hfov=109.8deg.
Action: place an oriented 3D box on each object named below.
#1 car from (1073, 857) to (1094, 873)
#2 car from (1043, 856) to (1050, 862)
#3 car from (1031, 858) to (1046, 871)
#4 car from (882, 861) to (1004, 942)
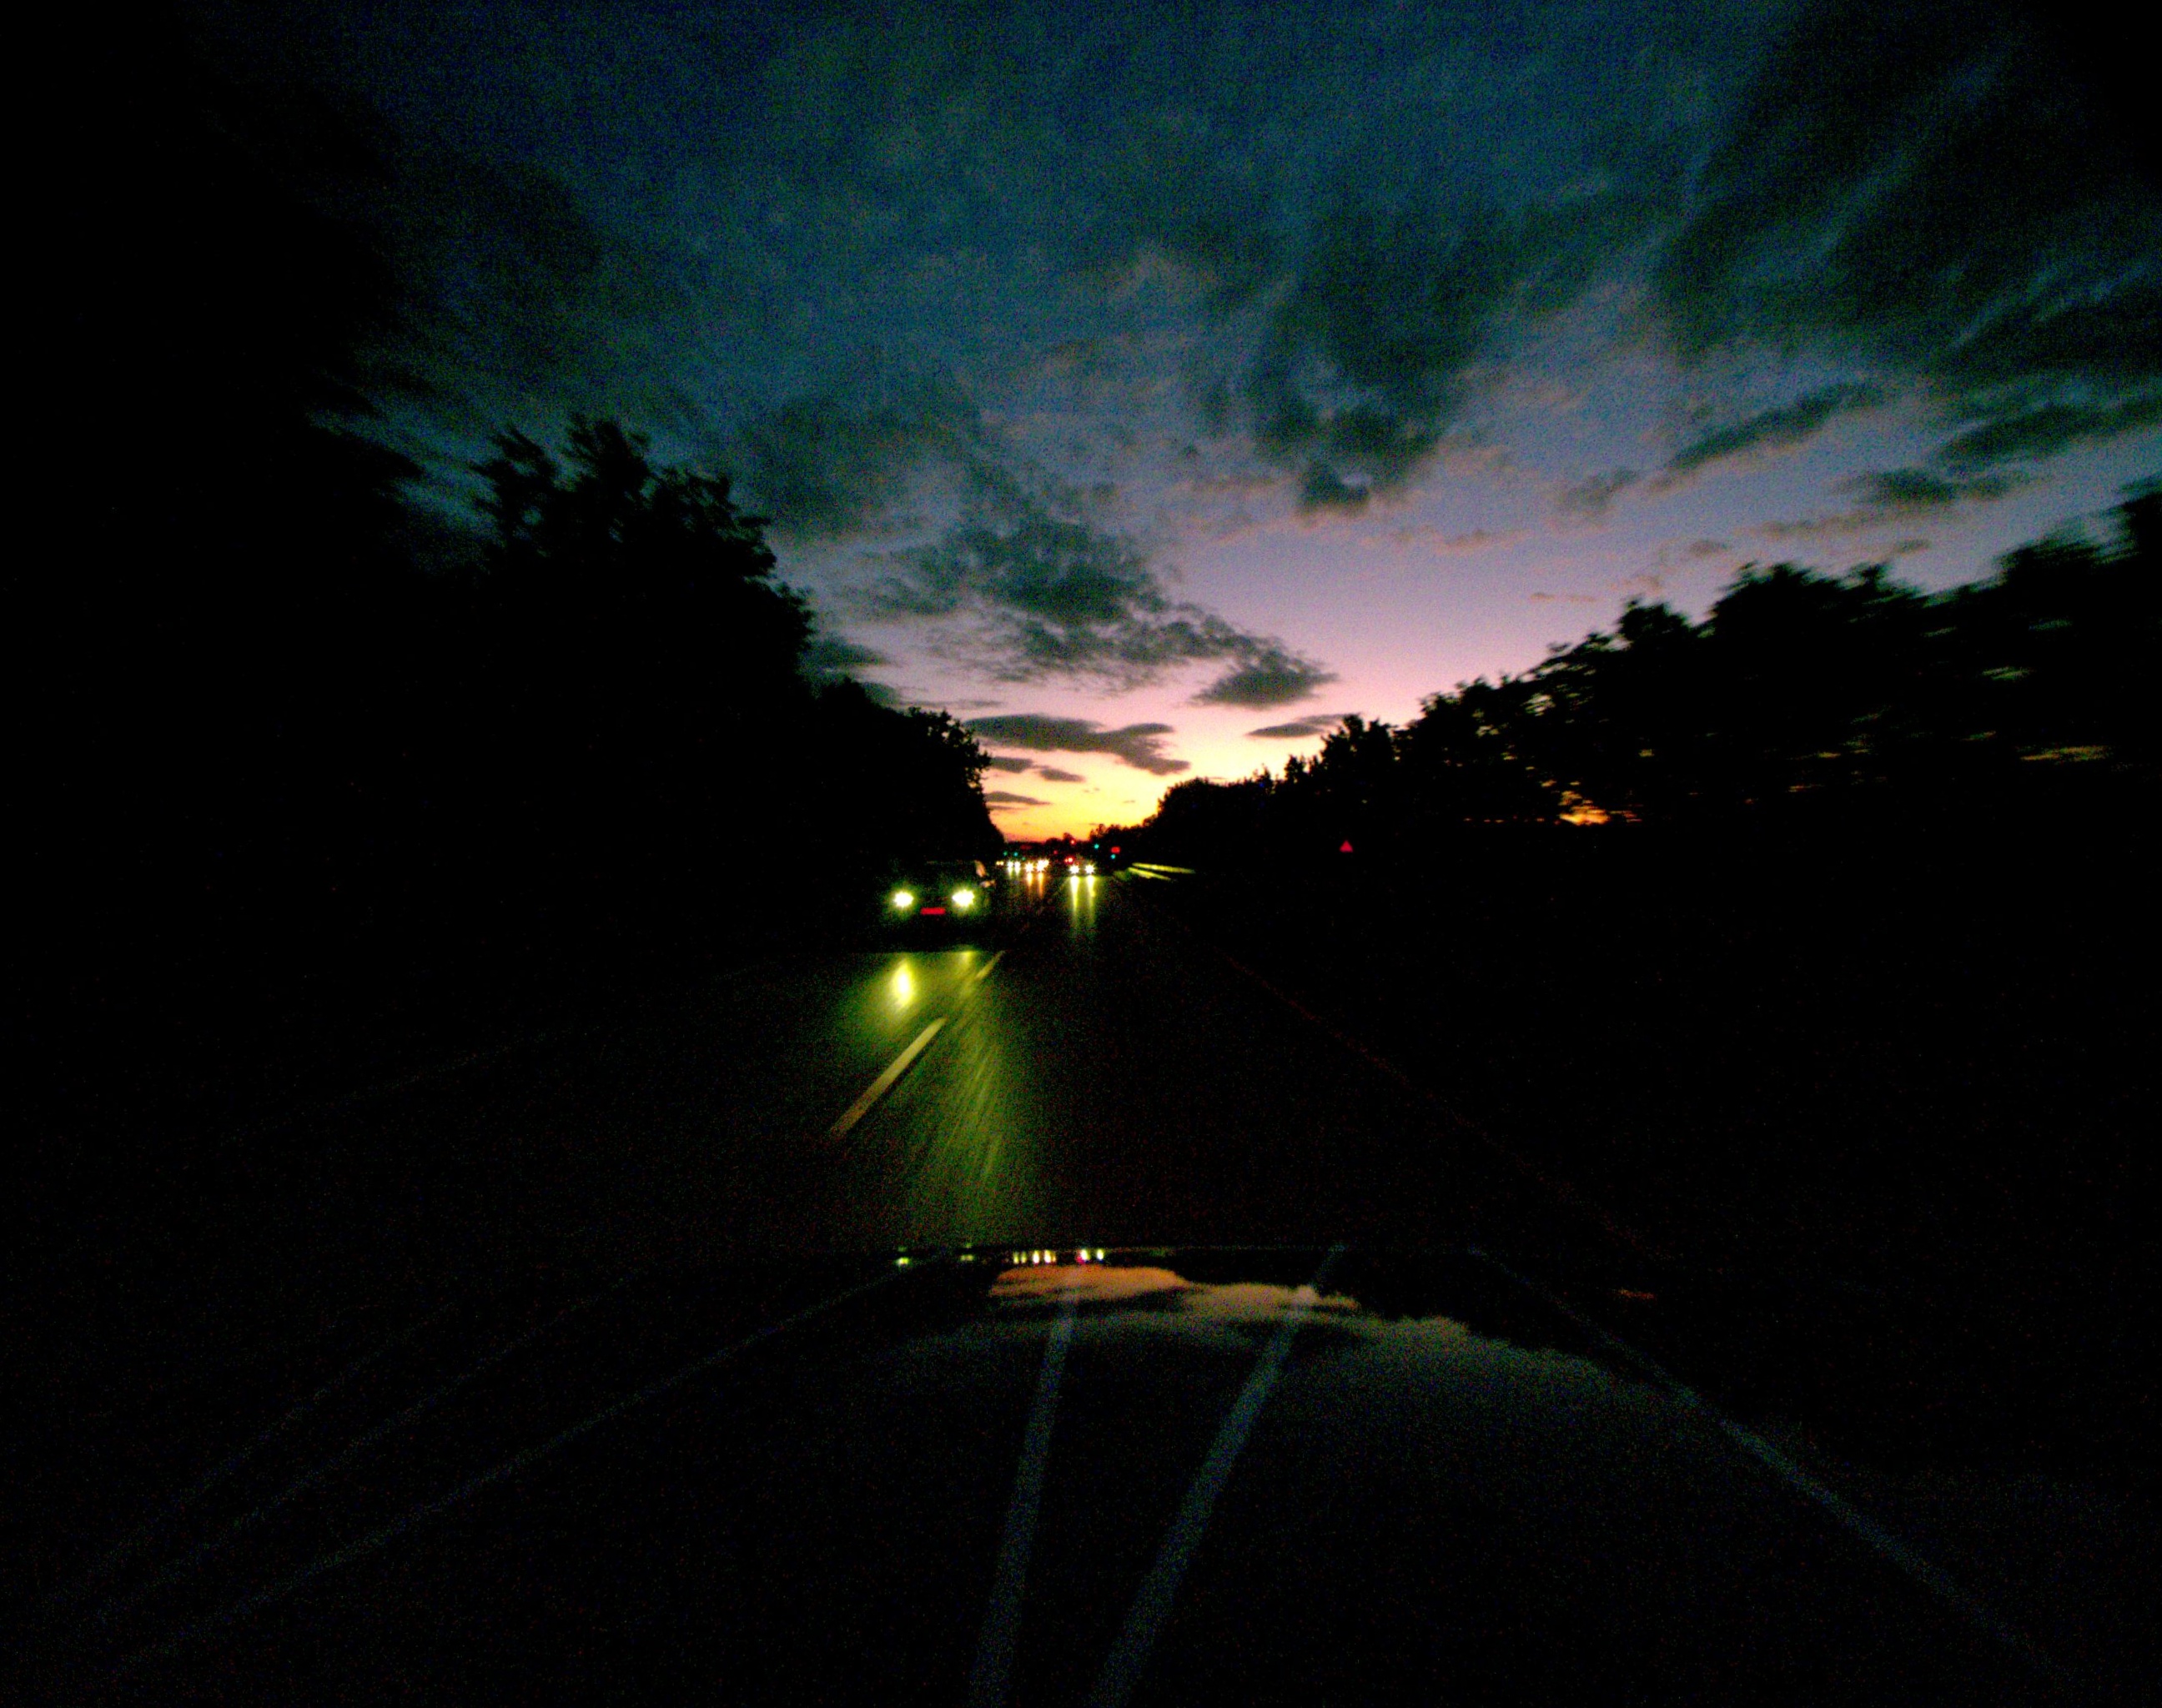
[{"bbox_3d":[0.214,1.023,72.700,1.901,1.472,4.514,-1,0,-1],"label":"car"},{"bbox_3d":[-9.331,1.441,205.493,1.999,1.602,4.501,-1,0,-1],"label":"car"},{"bbox_3d":[-5.216,1.247,93.742,1.624,1.460,3.871,-2,0,0],"label":"car"},{"bbox_3d":[-3.108,1.012,18.144,1.998,1.600,4.711,-1,0,0],"label":"car"}]
